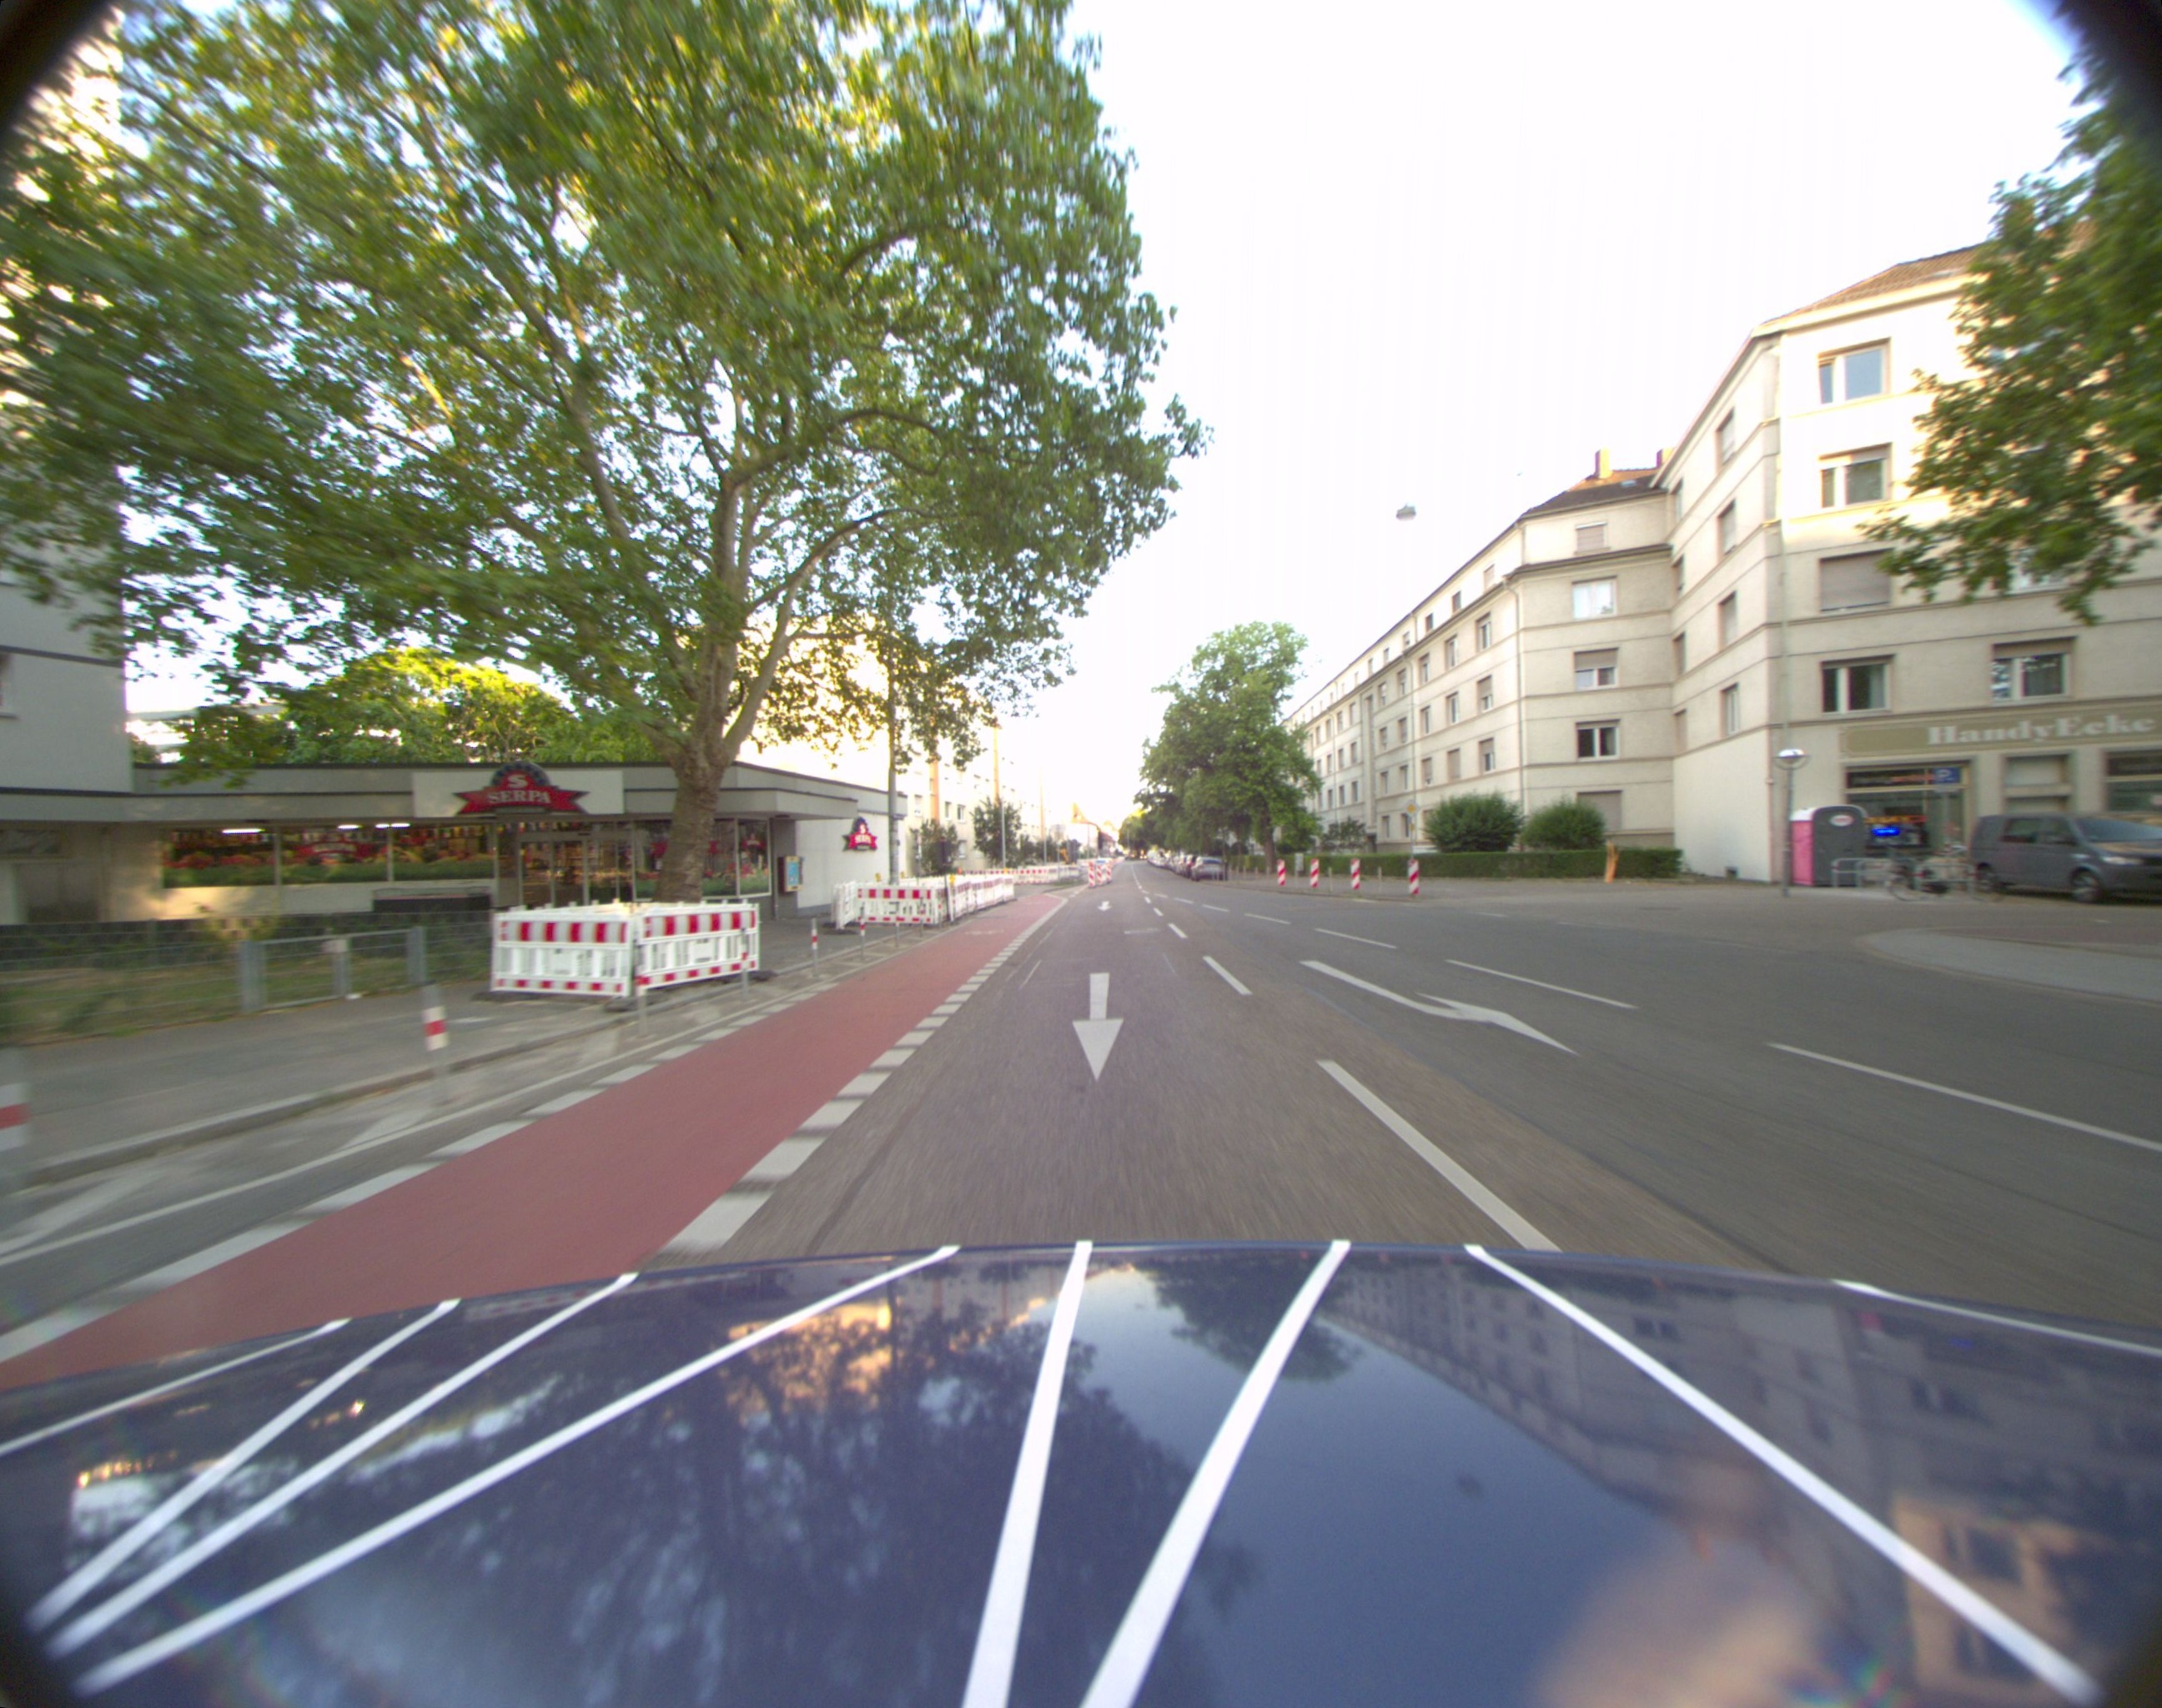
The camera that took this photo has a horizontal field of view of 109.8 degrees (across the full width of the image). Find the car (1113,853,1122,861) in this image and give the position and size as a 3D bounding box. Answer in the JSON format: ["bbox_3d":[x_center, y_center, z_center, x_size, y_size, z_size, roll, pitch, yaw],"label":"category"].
[{"bbox_3d":[8.604,0.647,178.146,1.892,1.591,4.260,-2,1,6],"label":"car"}]

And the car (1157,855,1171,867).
[{"bbox_3d":[12.158,1.038,111.313,1.892,1.591,4.260,-2,1,6],"label":"car"}]

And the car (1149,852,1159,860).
[{"bbox_3d":[15.296,0.342,159.524,1.892,1.591,4.260,-2,1,6],"label":"car"}]

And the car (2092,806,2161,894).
[{"bbox_3d":[24.876,-0.078,16.152,1.995,1.945,4.647,0,2,24],"label":"car"}]

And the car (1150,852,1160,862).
[{"bbox_3d":[14.011,0.565,143.945,1.892,1.591,4.260,-2,1,6],"label":"car"}]

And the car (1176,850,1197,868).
[{"bbox_3d":[10.294,0.509,74.356,1.892,1.591,4.260,-2,1,6],"label":"car"}]

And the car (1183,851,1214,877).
[{"bbox_3d":[8.566,0.686,55.607,1.892,1.681,4.260,-2,1,6],"label":"car"}]

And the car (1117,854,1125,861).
[{"bbox_3d":[10.488,0.988,199.161,1.892,1.591,4.260,-2,1,6],"label":"car"}]

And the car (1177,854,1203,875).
[{"bbox_3d":[8.983,0.841,62.905,1.892,1.591,4.260,-2,1,6],"label":"car"}]

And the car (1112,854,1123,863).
[{"bbox_3d":[7.206,0.826,149.672,1.892,1.591,4.260,-2,1,6],"label":"car"}]

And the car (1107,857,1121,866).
[{"bbox_3d":[5.478,1.156,125.814,1.892,1.306,4.260,-2,1,6],"label":"car"}]

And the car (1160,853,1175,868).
[{"bbox_3d":[11.575,0.836,101.644,1.892,1.855,4.260,-2,1,6],"label":"car"}]

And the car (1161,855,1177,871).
[{"bbox_3d":[10.713,1.097,92.677,1.892,1.815,4.260,-2,1,6],"label":"car"}]

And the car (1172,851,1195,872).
[{"bbox_3d":[9.261,0.663,68.852,1.892,1.764,4.260,-2,1,6],"label":"car"}]

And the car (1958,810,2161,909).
[{"bbox_3d":[22.523,0.024,16.977,1.995,1.945,4.647,0,2,24],"label":"car"}]

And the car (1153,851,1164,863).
[{"bbox_3d":[13.964,0.502,137.223,1.892,1.868,4.947,-2,1,6],"label":"car"}]

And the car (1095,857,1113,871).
[{"bbox_3d":[2.903,1.259,94.485,1.892,1.591,4.260,-2,1,6],"label":"car"}]

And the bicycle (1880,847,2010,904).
[{"bbox_3d":[19.314,0.491,17.037,1.802,1.199,0.648,-2,1,33],"label":"bicycle"}]

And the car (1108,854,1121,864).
[{"bbox_3d":[5.946,0.909,134.816,1.892,1.591,4.260,-2,1,6],"label":"car"}]

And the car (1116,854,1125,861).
[{"bbox_3d":[9.913,0.868,189.922,1.892,1.591,4.260,-2,1,6],"label":"car"}]

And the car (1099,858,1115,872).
[{"bbox_3d":[3.730,1.503,106.770,1.892,1.726,4.260,-2,1,6],"label":"car"}]

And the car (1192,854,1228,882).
[{"bbox_3d":[8.039,0.833,47.612,1.892,1.591,4.001,-2,1,6],"label":"car"}]

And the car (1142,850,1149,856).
[{"bbox_3d":[21.576,-0.431,254.113,1.998,1.838,3.999,-2,1,0],"label":"car"}]

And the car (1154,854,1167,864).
[{"bbox_3d":[13.193,0.835,126.238,1.892,1.591,4.260,-2,1,6],"label":"car"}]
